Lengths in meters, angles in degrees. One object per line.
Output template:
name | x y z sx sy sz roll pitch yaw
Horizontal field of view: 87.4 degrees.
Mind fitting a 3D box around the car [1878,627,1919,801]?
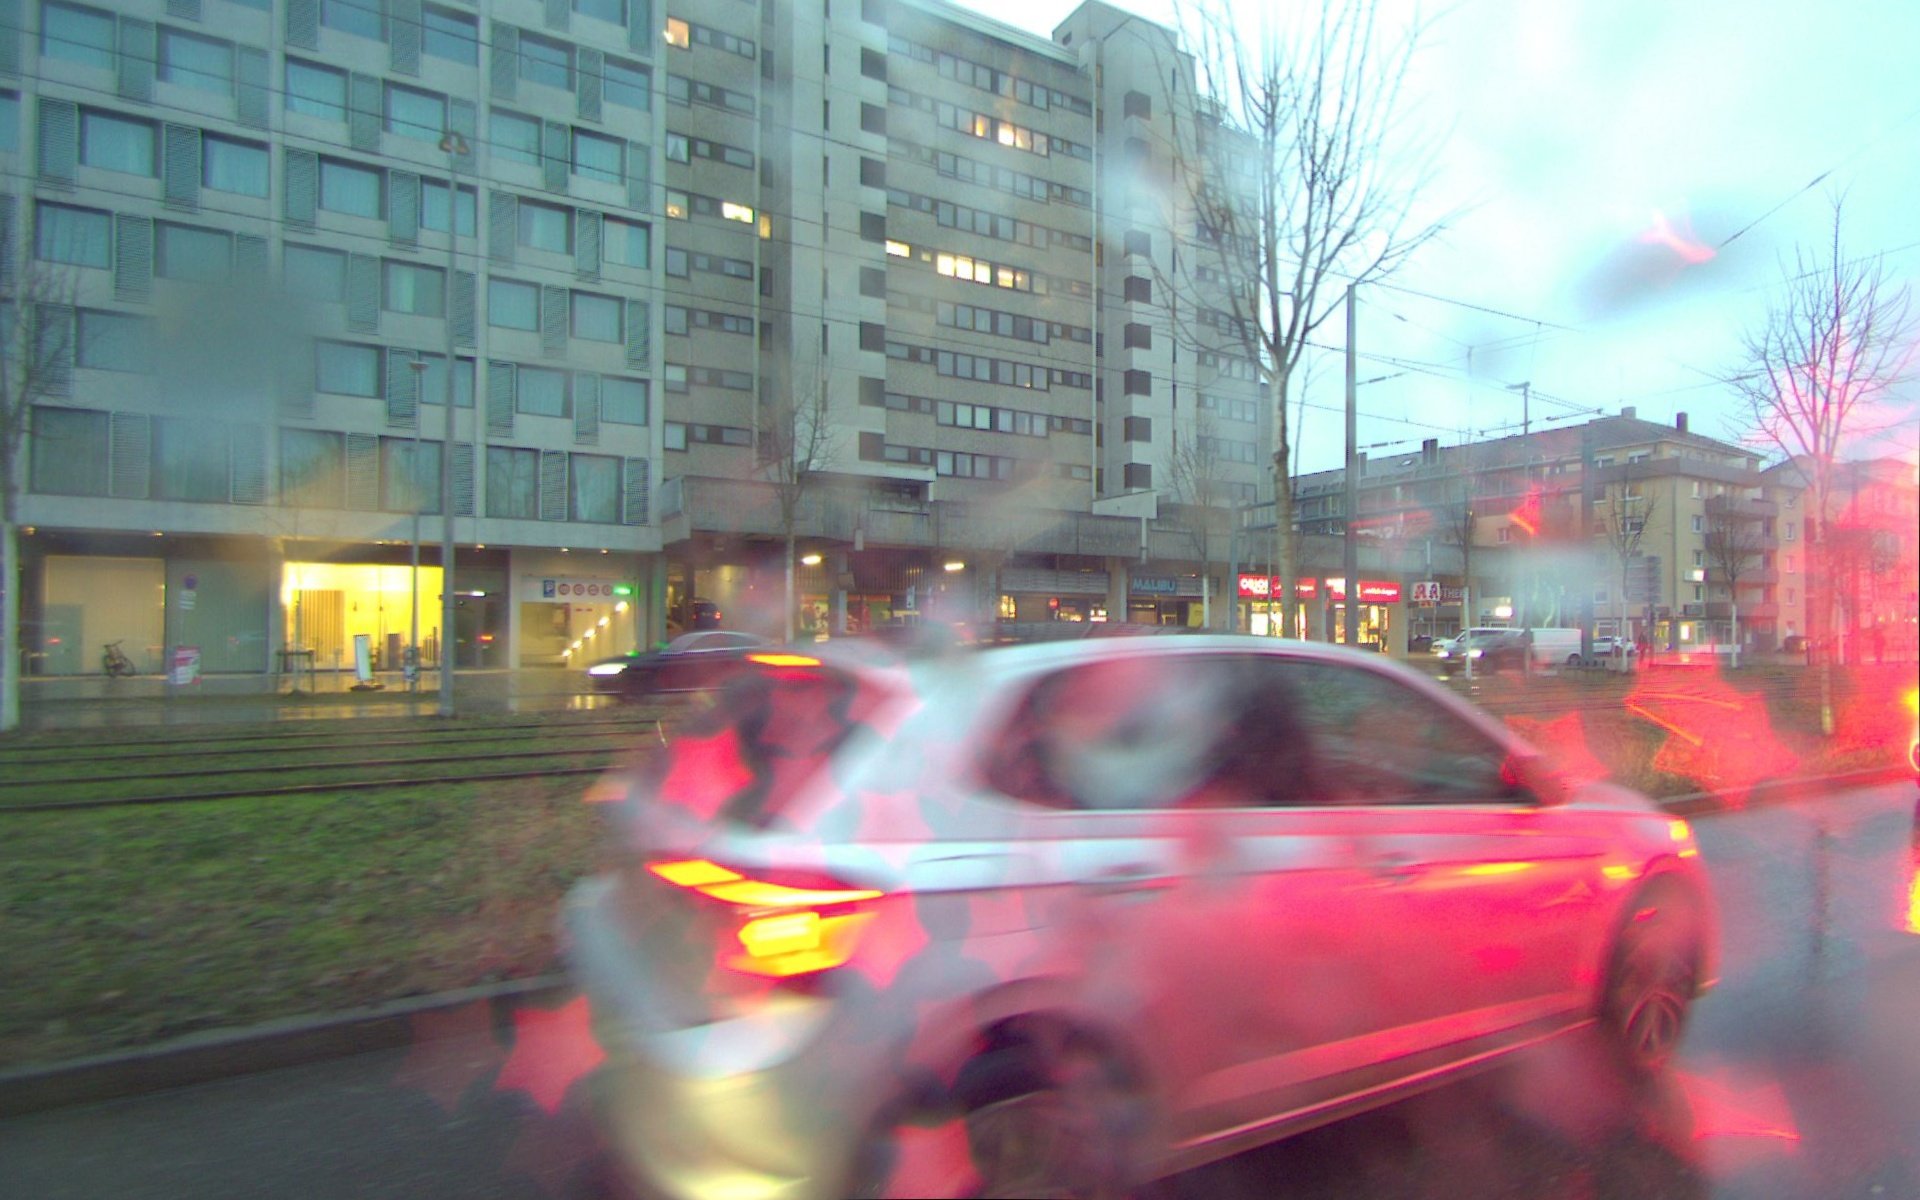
car | 10.192 1.002 8.911 4.562 1.424 1.837 2 -1 -31

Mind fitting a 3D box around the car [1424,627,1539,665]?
car | 27.451 2.394 53.096 5.059 1.937 2.001 0 -2 15

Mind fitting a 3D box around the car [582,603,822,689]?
car | -5.703 0.997 22.480 4.865 1.741 1.884 1 -2 -34

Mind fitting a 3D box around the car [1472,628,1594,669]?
car | 28.357 2.385 49.767 5.068 1.937 1.998 0 -2 -8

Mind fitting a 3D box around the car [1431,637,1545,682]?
car | 20.866 2.311 39.676 4.526 1.655 1.887 1 -2 -30

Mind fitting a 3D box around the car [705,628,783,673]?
car | -8.766 1.990 40.538 1.709 1.718 4.336 1 -2 -32

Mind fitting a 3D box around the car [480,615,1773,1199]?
car | 0.689 0.790 3.264 3.934 1.389 1.754 2 -1 -30

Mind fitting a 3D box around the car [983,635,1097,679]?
car | 3.095 2.163 38.687 3.925 1.405 1.935 2 0 26
